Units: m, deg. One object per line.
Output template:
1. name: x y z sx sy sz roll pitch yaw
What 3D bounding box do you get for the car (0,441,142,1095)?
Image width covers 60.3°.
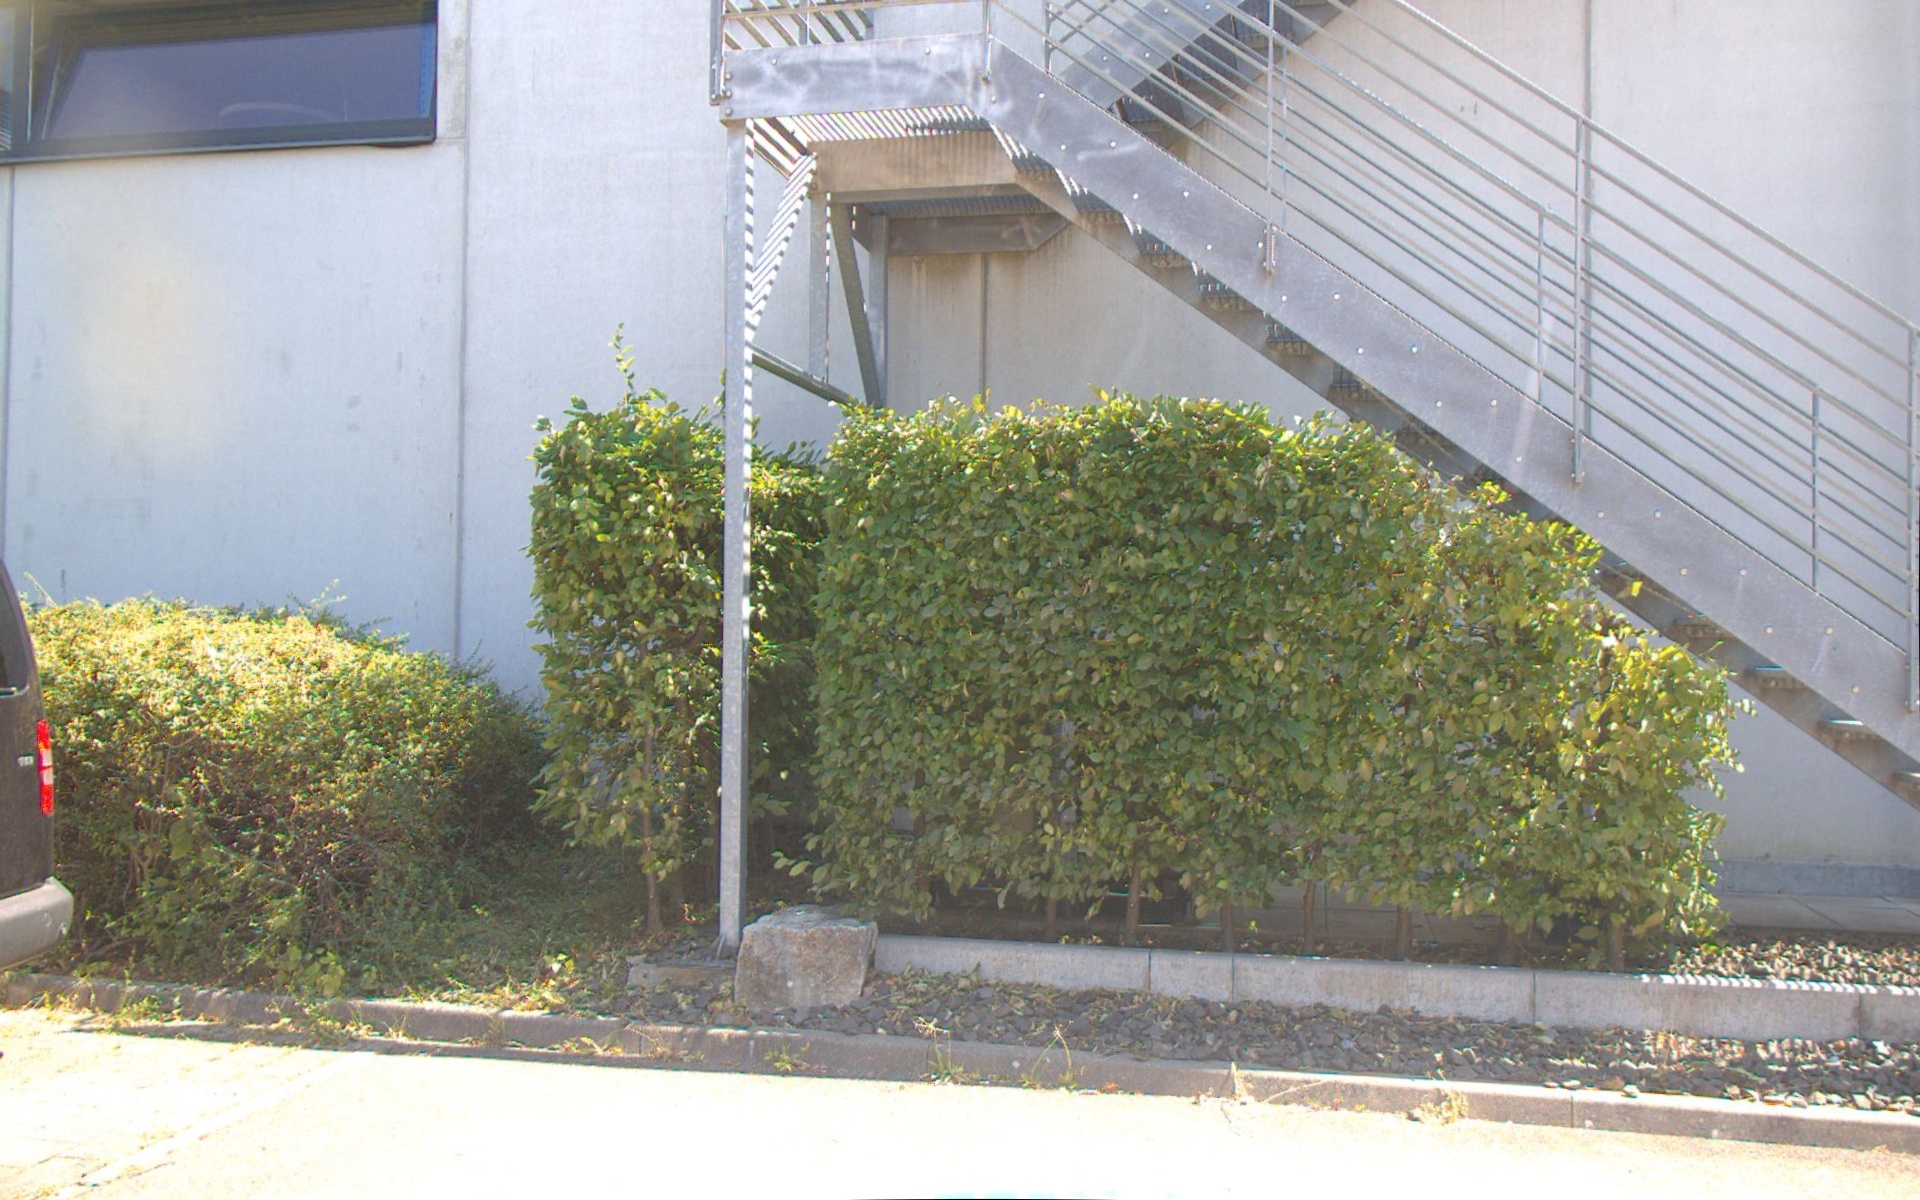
1. car: -4.805 0.475 5.017 3.971 1.917 1.680 0 0 13
